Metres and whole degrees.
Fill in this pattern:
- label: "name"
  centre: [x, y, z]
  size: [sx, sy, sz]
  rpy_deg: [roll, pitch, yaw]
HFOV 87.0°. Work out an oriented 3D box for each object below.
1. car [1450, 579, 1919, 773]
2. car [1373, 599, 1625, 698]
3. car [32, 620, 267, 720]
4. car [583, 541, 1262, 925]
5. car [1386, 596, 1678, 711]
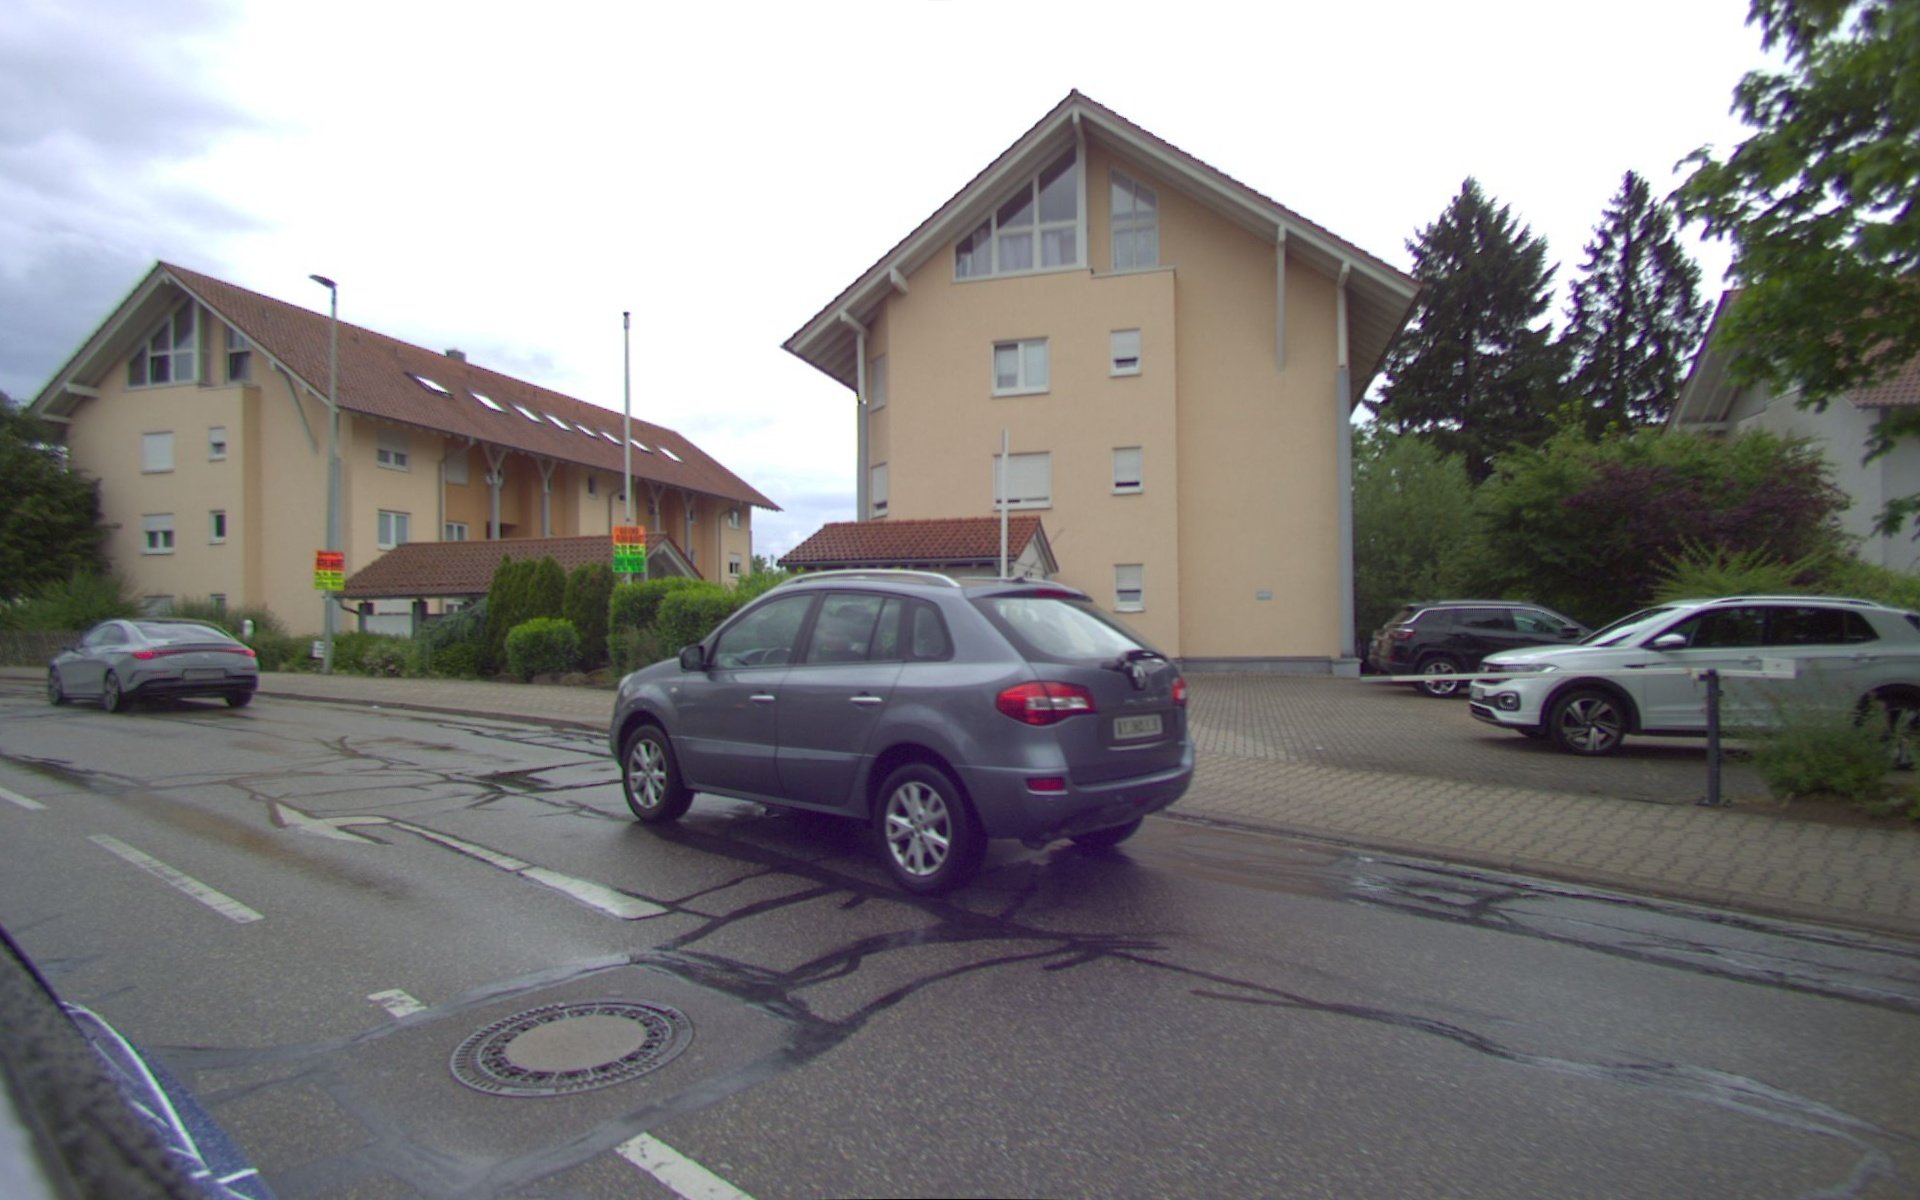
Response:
- label: "car"
  centre: [7.395, 0.662, 10.301]
  size: [3.963, 1.663, 1.990]
  rpy_deg: [1, 1, 15]
- label: "car"
  centre: [10.159, 0.856, 19.449]
  size: [3.970, 1.663, 1.987]
  rpy_deg: [1, 1, 20]
- label: "car"
  centre: [-13.334, 1.074, 16.567]
  size: [4.479, 1.401, 1.885]
  rpy_deg: [-2, -1, 36]
- label: "car"
  centre: [-0.488, 0.667, 6.541]
  size: [4.264, 1.670, 1.882]
  rpy_deg: [-3, -3, 41]
- label: "car"
  centre: [9.387, 0.803, 17.034]
  size: [3.971, 1.663, 1.986]
  rpy_deg: [1, 1, 21]
